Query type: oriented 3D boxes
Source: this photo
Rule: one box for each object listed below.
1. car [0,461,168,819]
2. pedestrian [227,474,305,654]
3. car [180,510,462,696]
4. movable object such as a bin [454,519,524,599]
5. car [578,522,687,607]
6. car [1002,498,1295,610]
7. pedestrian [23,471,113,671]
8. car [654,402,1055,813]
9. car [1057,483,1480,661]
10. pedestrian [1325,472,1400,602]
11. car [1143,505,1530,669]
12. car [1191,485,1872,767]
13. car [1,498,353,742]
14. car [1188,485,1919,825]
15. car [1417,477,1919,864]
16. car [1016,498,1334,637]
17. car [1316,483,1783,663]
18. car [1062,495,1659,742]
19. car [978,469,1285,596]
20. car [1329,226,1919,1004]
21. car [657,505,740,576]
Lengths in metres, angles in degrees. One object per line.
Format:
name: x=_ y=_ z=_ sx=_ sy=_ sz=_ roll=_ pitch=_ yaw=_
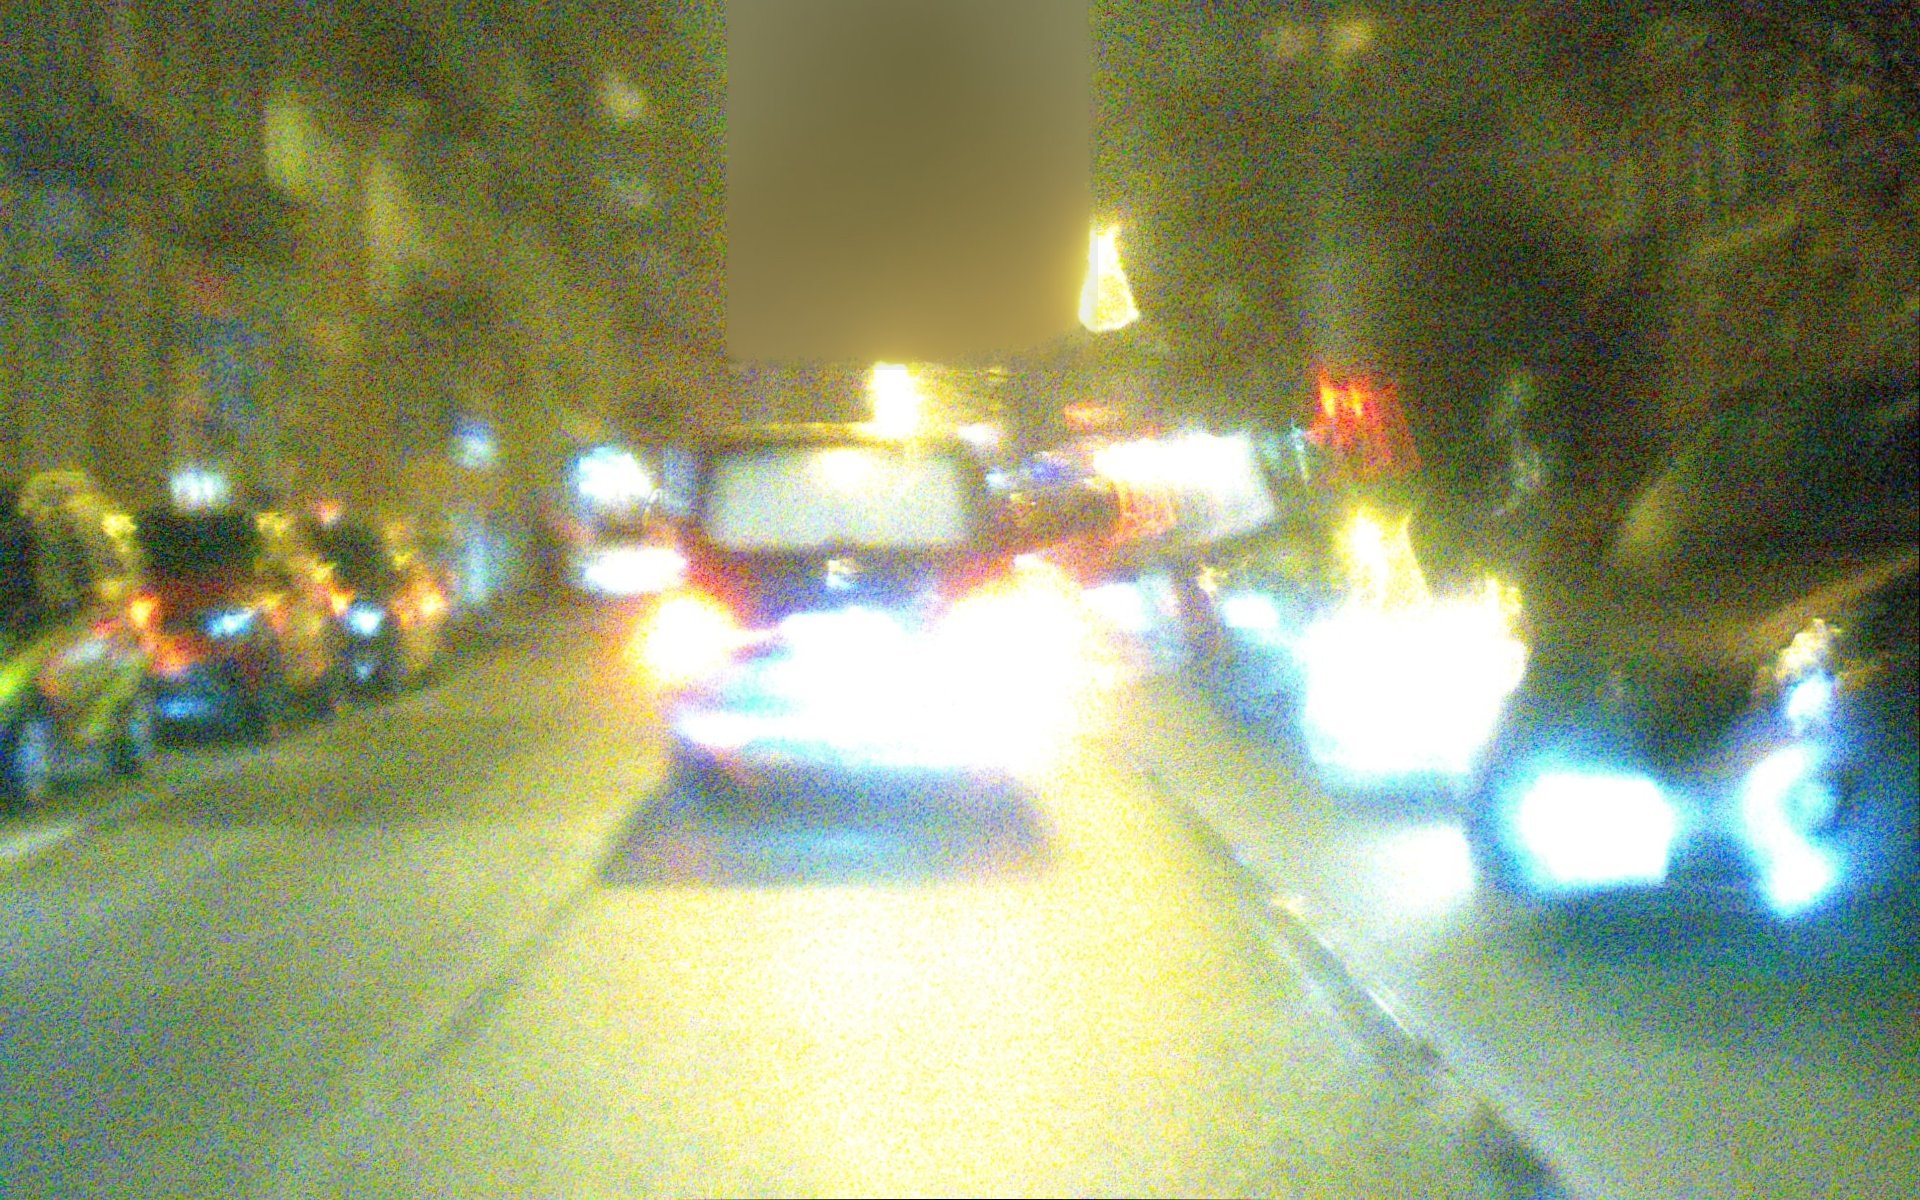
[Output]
car: x=-5.382 y=0.150 z=18.159 sx=1.603 sy=1.700 sz=3.722 roll=0 pitch=1 yaw=-1
pedestrian: x=-7.174 y=-0.375 z=35.550 sx=0.591 sy=1.814 sz=0.795 roll=2 pitch=1 yaw=-1
car: x=-5.395 y=-0.031 z=29.505 sx=1.686 sy=1.450 sz=4.316 roll=1 pitch=2 yaw=-1
movable object such as a bin: x=-8.490 y=-0.743 z=62.018 sx=1.048 sy=1.393 sz=1.158 roll=1 pitch=1 yaw=2
car: x=-5.923 y=-0.668 z=62.511 sx=1.587 sy=1.477 sz=3.793 roll=0 pitch=1 yaw=0
car: x=2.833 y=-0.697 z=51.628 sx=3.986 sy=1.487 sz=1.735 roll=-3 pitch=1 yaw=-26
pedestrian: x=-8.010 y=-0.267 z=30.898 sx=0.639 sy=1.775 sz=0.549 roll=-1 pitch=1 yaw=0
car: x=-0.550 y=0.015 z=19.081 sx=1.993 sy=2.043 sz=4.000 roll=0 pitch=1 yaw=-1
car: x=2.834 y=-0.279 z=31.255 sx=3.673 sy=1.455 sz=1.604 roll=-3 pitch=2 yaw=-37
pedestrian: x=5.910 y=-0.933 z=50.525 sx=0.868 sy=1.849 sz=0.993 roll=-3 pitch=1 yaw=-3
car: x=3.815 y=-0.167 z=34.761 sx=3.641 sy=1.575 sz=1.593 roll=-1 pitch=2 yaw=-29
car: x=3.617 y=0.108 z=21.471 sx=3.988 sy=1.547 sz=1.999 roll=-2 pitch=1 yaw=-38
car: x=-5.367 y=0.070 z=24.016 sx=1.603 sy=1.547 sz=4.026 roll=1 pitch=2 yaw=-1
car: x=3.142 y=0.225 z=17.724 sx=3.641 sy=1.536 sz=1.560 roll=-2 pitch=1 yaw=-30
car: x=3.849 y=0.236 z=15.437 sx=3.390 sy=1.536 sz=1.577 roll=-2 pitch=1 yaw=-37
car: x=2.629 y=-0.383 z=41.719 sx=3.642 sy=1.575 sz=1.592 roll=1 pitch=1 yaw=-37
car: x=5.261 y=-0.261 z=30.540 sx=3.987 sy=1.447 sz=1.688 roll=-2 pitch=1 yaw=-34
car: x=2.873 y=0.089 z=24.330 sx=3.988 sy=1.547 sz=1.804 roll=-2 pitch=1 yaw=-35
car: x=2.881 y=-1.160 z=57.388 sx=4.784 sy=2.042 sz=2.067 roll=-1 pitch=2 yaw=-31
car: x=3.726 y=-0.033 z=12.089 sx=4.711 sy=2.240 sz=1.946 roll=-2 pitch=1 yaw=-37
car: x=-5.936 y=-1.369 z=78.131 sx=1.812 sy=1.552 sz=4.077 roll=0 pitch=1 yaw=-4
